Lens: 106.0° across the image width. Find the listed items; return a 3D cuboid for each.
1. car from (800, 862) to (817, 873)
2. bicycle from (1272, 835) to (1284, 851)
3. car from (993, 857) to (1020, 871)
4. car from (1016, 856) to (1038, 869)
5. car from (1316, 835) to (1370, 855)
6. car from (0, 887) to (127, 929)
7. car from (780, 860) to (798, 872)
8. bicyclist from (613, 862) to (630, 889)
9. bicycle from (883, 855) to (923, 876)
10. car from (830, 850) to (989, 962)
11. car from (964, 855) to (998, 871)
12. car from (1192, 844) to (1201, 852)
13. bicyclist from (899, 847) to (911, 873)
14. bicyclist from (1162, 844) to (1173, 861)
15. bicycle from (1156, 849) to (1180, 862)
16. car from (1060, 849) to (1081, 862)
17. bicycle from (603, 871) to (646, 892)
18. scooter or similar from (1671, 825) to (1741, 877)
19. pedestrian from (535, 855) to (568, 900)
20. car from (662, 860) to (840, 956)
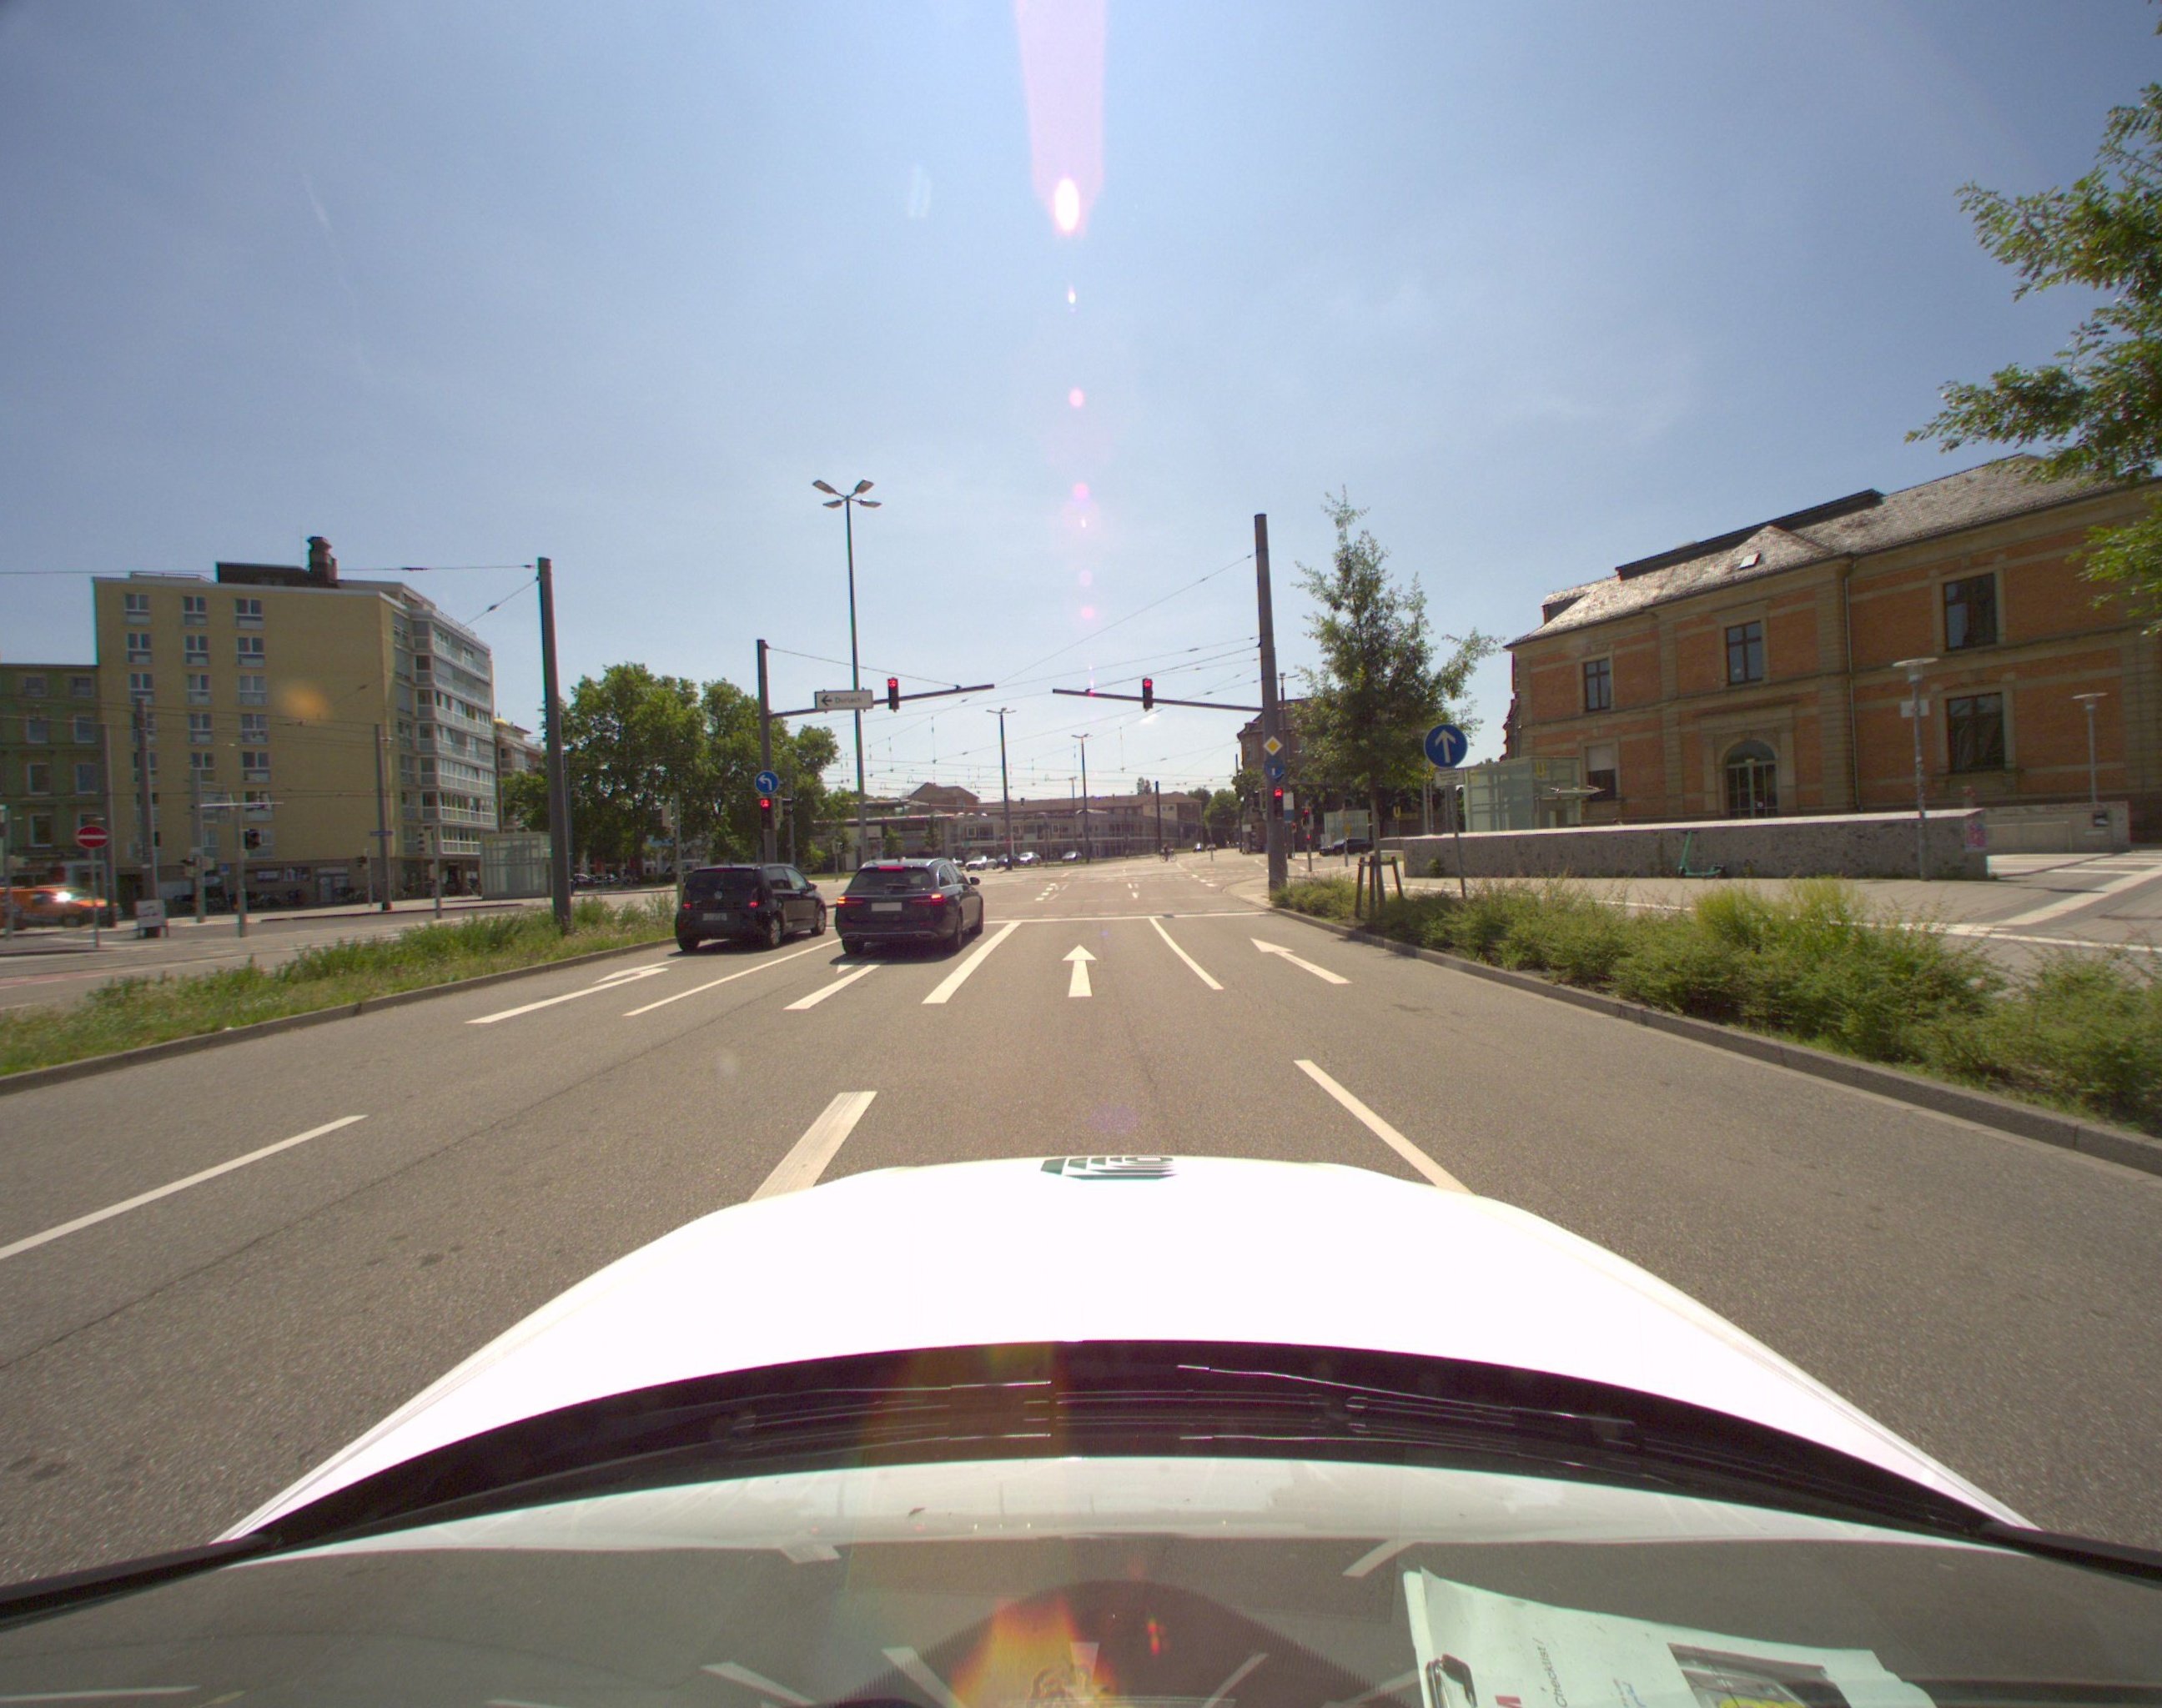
[{"bbox_3d":[-38.384,1.905,114.811,1.507,1.418,3.415,-2,2,-5],"label":"car"},{"bbox_3d":[22.687,-1.311,93.757,0.610,1.788,3.182,-2,2,1],"label":"bicycle"},{"bbox_3d":[-7.669,1.020,84.161,1.526,1.277,3.555,-1,2,17],"label":"car"},{"bbox_3d":[-5.971,0.920,90.229,1.421,1.285,3.273,-1,2,13],"label":"car"},{"bbox_3d":[21.722,-0.772,67.597,4.114,1.450,1.687,-3,2,-19],"label":"car"},{"bbox_3d":[-47.601,2.493,37.444,4.631,1.613,1.668,-2,2,-15],"label":"car"},{"bbox_3d":[-41.446,1.682,115.656,1.422,1.508,3.432,-2,2,-5],"label":"car"},{"bbox_3d":[-34.950,1.646,61.994,0.845,1.965,0.625,-2,2,-7],"label":"bicyclist"},{"bbox_3d":[-13.531,0.851,62.053,2.818,1.463,0.633,-2,2,-2],"label":"bicycle"},{"bbox_3d":[-2.766,0.762,14.192,1.711,1.556,4.586,-3,0,0],"label":"car"},{"bbox_3d":[-9.534,0.862,78.235,1.607,1.390,4.143,-3,0,17],"label":"car"},{"bbox_3d":[21.678,-1.156,152.658,1.522,1.458,3.561,-2,2,8],"label":"car"},{"bbox_3d":[-13.406,0.473,62.046,0.761,1.937,0.660,-2,2,-2],"label":"bicyclist"},{"bbox_3d":[8.130,-0.139,76.440,0.734,1.479,0.652,-3,2,-18],"label":"bicyclist"},{"bbox_3d":[8.187,0.127,76.456,2.166,1.107,0.454,-3,2,-18],"label":"bicycle"},{"bbox_3d":[-1.308,0.148,103.592,1.558,1.427,3.631,-1,2,18],"label":"car"},{"bbox_3d":[-34.764,2.082,62.030,2.772,1.385,0.669,-2,2,-7],"label":"bicycle"},{"bbox_3d":[14.614,-0.080,19.078,0.398,1.167,1.280,-3,2,-22],"label":"scooter or similar"},{"bbox_3d":[-35.870,1.581,55.170,1.211,2.937,1.335,-2,2,-3],"label":"pedestrian"},{"bbox_3d":[-5.960,0.884,15.235,1.616,1.463,4.000,-2,0,0],"label":"car"}]
